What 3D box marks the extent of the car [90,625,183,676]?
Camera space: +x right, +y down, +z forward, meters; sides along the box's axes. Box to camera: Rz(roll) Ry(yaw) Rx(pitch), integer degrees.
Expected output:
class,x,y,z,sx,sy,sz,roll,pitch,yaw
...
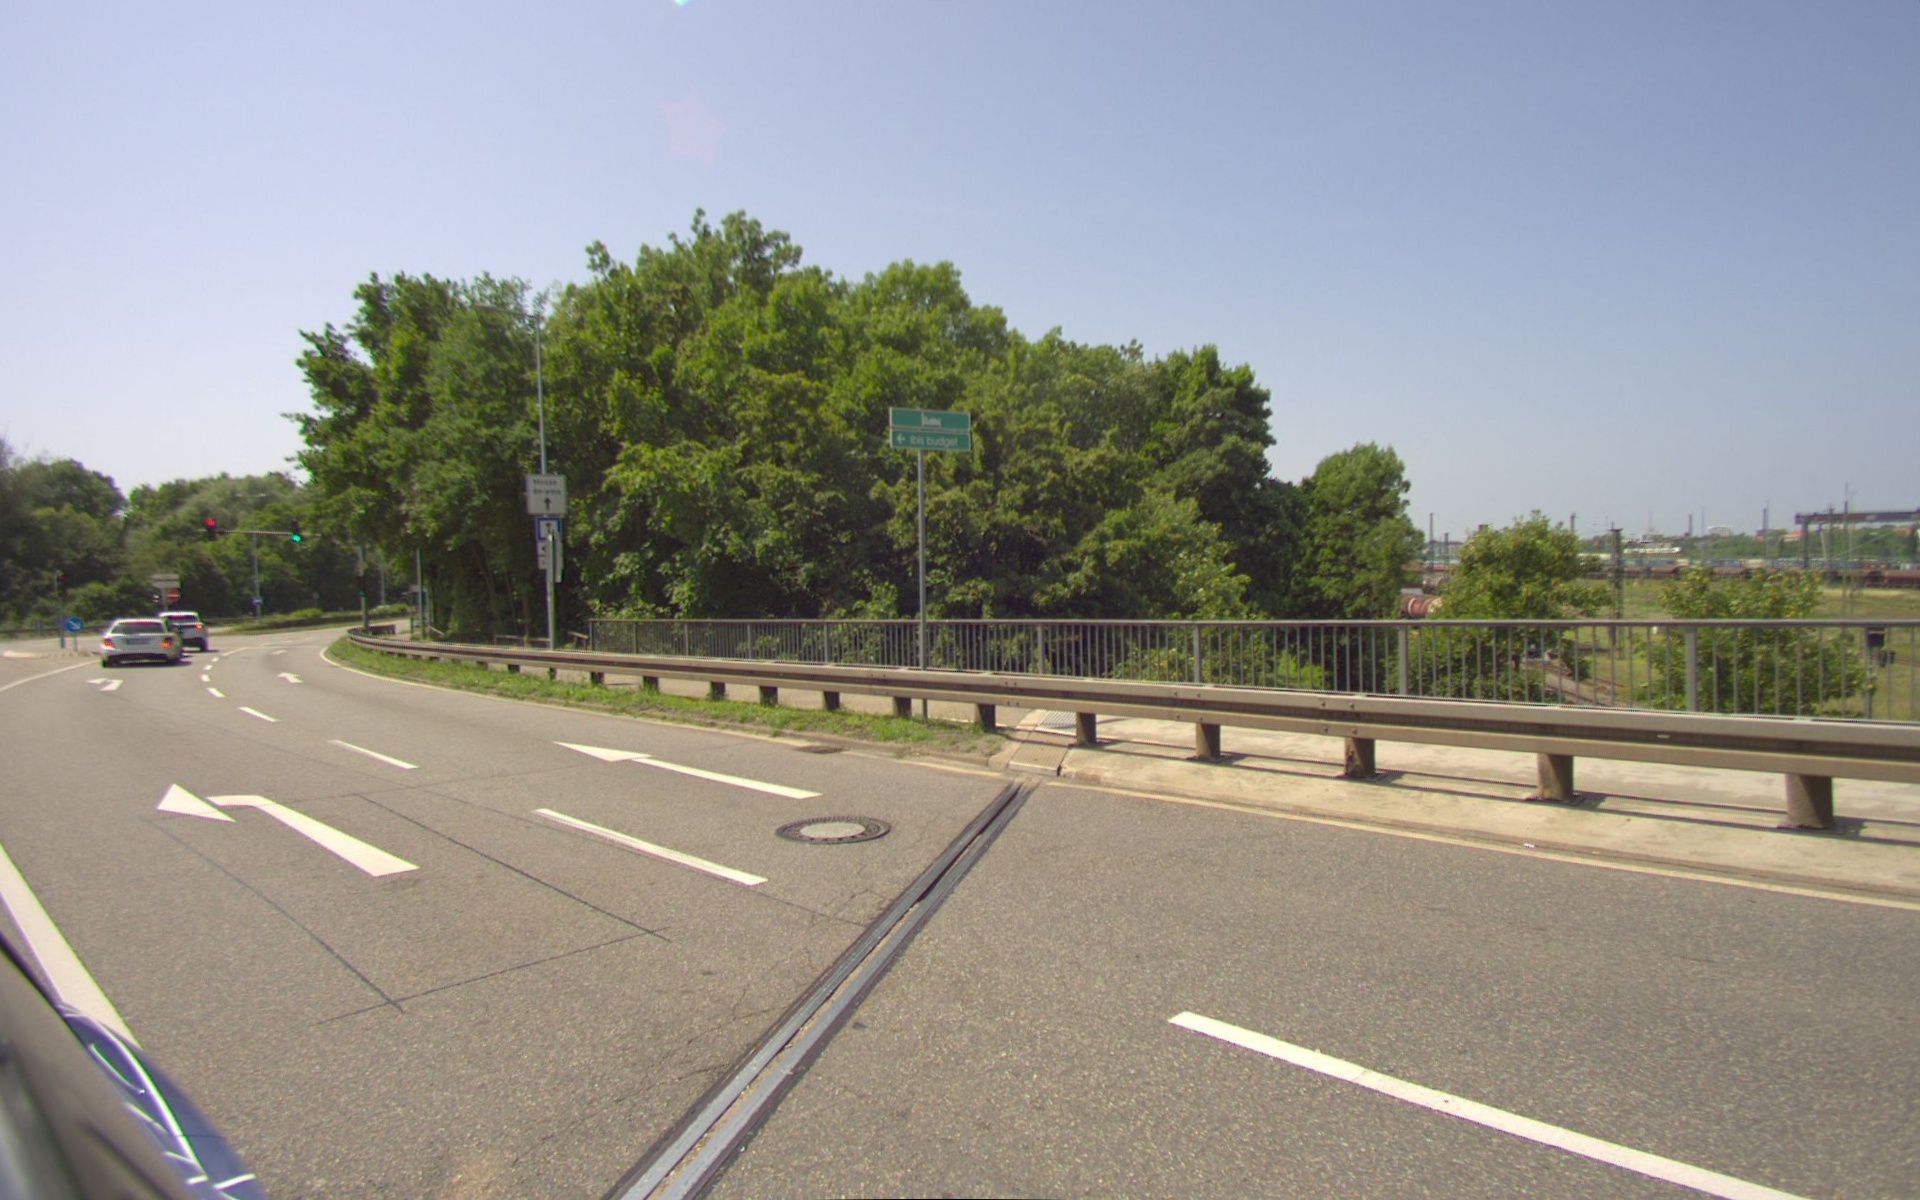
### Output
class,x,y,z,sx,sy,sz,roll,pitch,yaw
car,-25.145,1.486,31.042,1.803,1.417,4.900,1,-1,-35

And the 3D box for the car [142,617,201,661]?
class,x,y,z,sx,sy,sz,roll,pitch,yaw
car,-32.424,1.566,41.719,1.804,1.651,4.589,0,-1,-37
